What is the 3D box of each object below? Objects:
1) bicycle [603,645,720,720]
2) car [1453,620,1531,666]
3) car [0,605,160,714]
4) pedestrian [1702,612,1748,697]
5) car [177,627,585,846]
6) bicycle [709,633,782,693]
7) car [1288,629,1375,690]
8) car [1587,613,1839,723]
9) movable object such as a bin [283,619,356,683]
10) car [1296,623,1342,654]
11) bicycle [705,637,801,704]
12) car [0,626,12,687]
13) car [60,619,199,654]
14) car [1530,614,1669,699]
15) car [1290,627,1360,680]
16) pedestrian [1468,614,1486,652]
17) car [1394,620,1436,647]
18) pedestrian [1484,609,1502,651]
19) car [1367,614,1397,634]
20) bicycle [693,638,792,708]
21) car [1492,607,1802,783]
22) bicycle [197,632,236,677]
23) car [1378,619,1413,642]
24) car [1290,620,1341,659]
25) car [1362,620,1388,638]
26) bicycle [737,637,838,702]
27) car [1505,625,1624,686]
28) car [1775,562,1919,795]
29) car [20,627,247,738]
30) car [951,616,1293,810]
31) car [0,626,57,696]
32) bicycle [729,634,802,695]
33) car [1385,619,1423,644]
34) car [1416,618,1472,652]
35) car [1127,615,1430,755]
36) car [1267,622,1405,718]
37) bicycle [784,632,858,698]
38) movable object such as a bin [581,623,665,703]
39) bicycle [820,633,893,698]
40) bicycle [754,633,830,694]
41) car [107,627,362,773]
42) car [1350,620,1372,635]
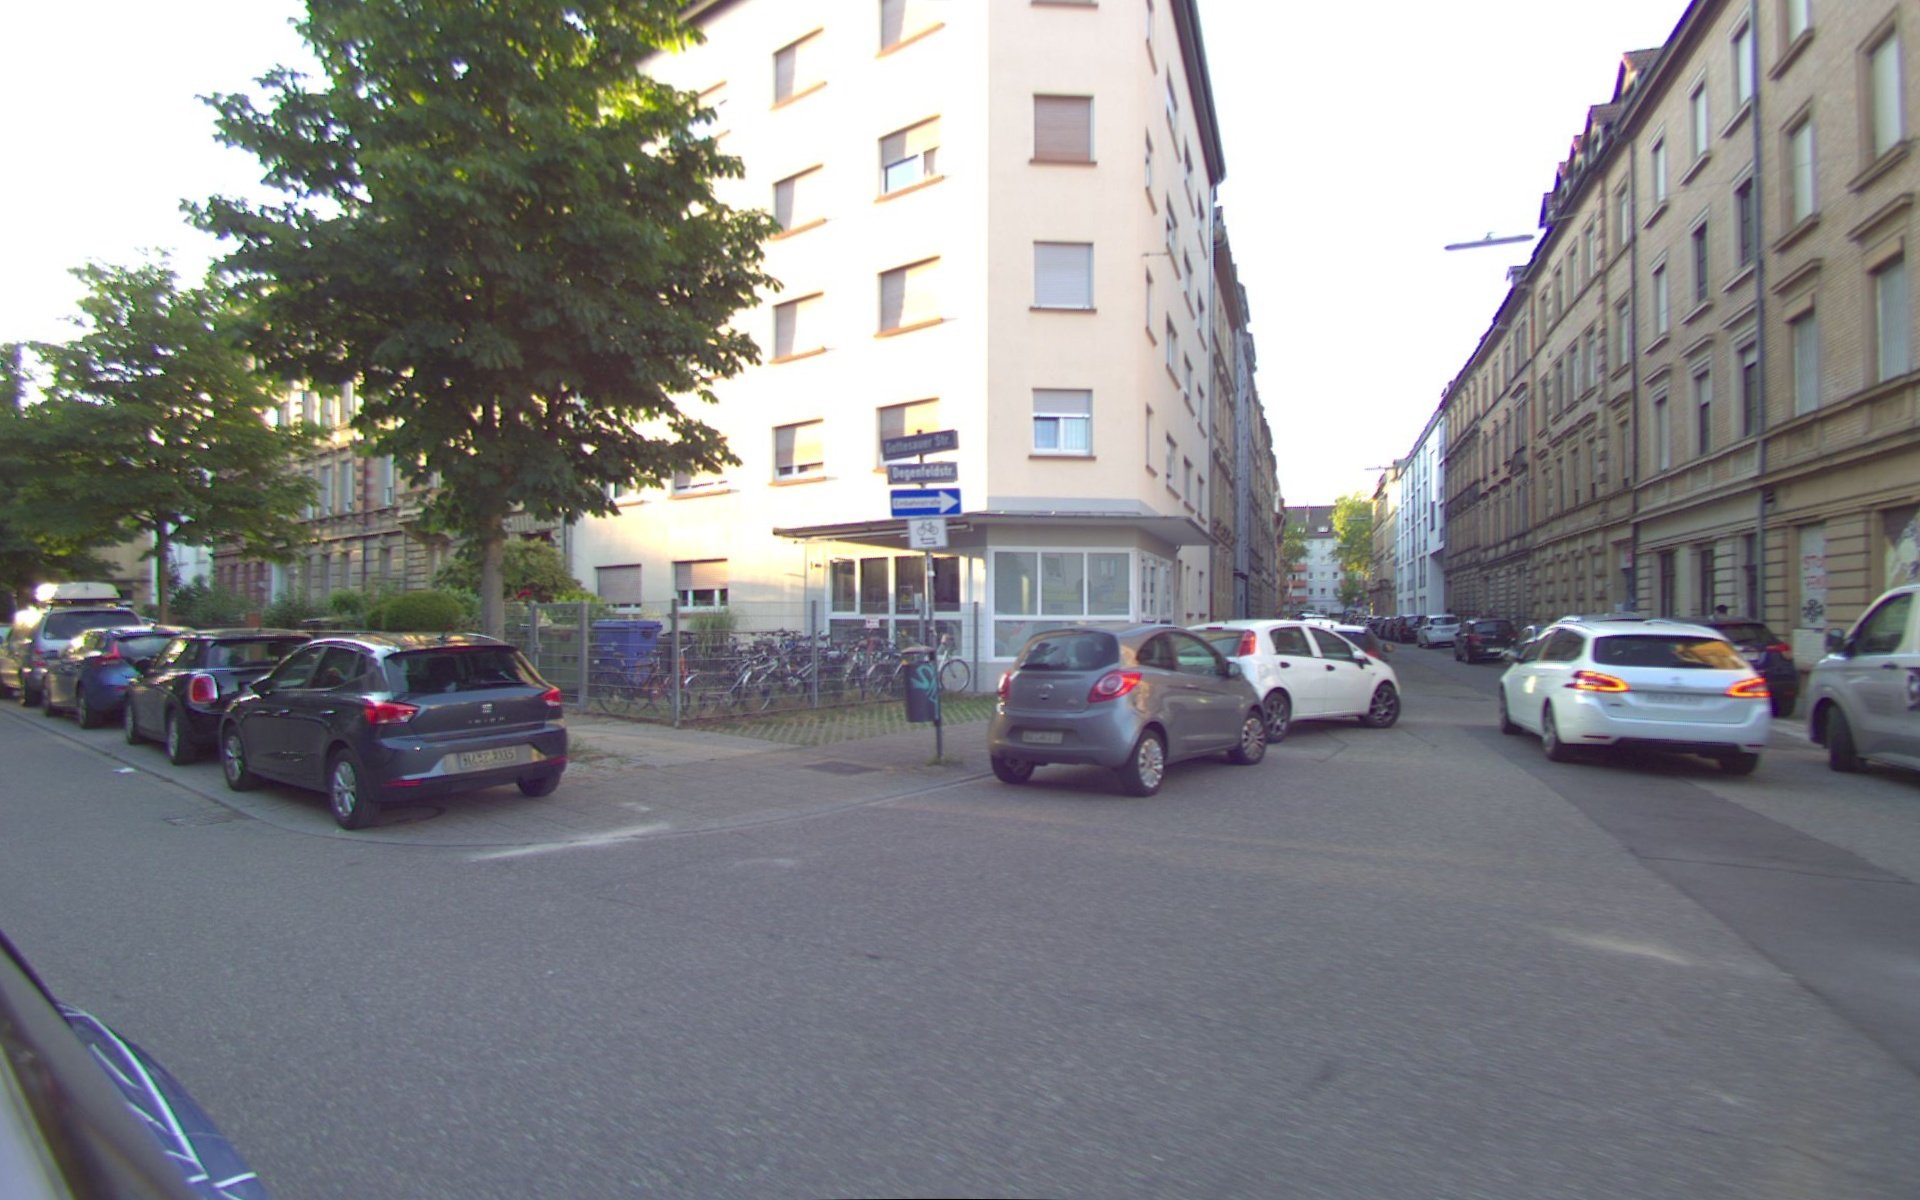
[{"bbox_3d":[-4.634,1.246,15.668,1.927,1.033,0.681,-1,0,35],"label":"bicycle"},{"bbox_3d":[18.287,1.461,34.956,1.774,1.470,3.974,-1,-2,19],"label":"car"},{"bbox_3d":[-16.729,1.012,18.911,4.618,1.792,1.843,-1,-1,39],"label":"car"},{"bbox_3d":[15.638,1.106,20.689,0.589,1.699,0.495,-1,0,18],"label":"pedestrian"},{"bbox_3d":[-5.353,1.007,9.106,4.458,1.472,1.658,-1,-1,38],"label":"car"},{"bbox_3d":[-4.322,1.256,20.466,0.499,1.100,1.531,-1,0,33],"label":"bicycle"},{"bbox_3d":[9.291,1.458,25.558,1.859,1.419,3.976,-1,-2,18],"label":"car"},{"bbox_3d":[12.208,1.046,16.768,2.004,1.583,3.899,-1,-2,15],"label":"car"},{"bbox_3d":[-14.892,1.159,23.525,1.548,1.398,0.937,-1,0,37],"label":"movable object such as a bin"},{"bbox_3d":[17.272,1.852,48.842,1.913,1.418,3.976,-1,-2,18],"label":"car"},{"bbox_3d":[-3.541,1.198,17.357,1.528,1.100,0.500,-1,0,3],"label":"bicycle"},{"bbox_3d":[-25.338,1.414,25.674,3.294,1.505,1.424,-1,-1,38],"label":"car"},{"bbox_3d":[-35.213,1.522,43.010,1.625,1.351,4.357,-1,-1,40],"label":"car"},{"bbox_3d":[13.425,1.138,21.490,1.572,1.635,3.974,-1,-2,19],"label":"car"},{"bbox_3d":[10.860,1.561,30.330,1.773,1.478,3.976,-1,-2,18],"label":"car"},{"bbox_3d":[22.979,1.469,45.002,0.589,1.699,0.495,-1,0,18],"label":"pedestrian"},{"bbox_3d":[25.699,1.906,57.283,1.774,1.470,3.974,-1,-2,19],"label":"car"},{"bbox_3d":[23.577,1.315,44.796,0.589,1.820,0.495,-1,0,18],"label":"pedestrian"},{"bbox_3d":[31.560,1.814,75.811,1.774,1.470,3.974,-1,-2,19],"label":"car"},{"bbox_3d":[-3.613,1.207,16.841,1.528,1.100,0.500,-1,0,3],"label":"bicycle"},{"bbox_3d":[7.332,0.906,11.367,1.808,1.534,4.567,0,-2,20],"label":"car"},{"bbox_3d":[-19.600,1.424,26.672,1.632,1.118,0.451,-1,0,41],"label":"bicycle"},{"bbox_3d":[28.403,1.987,66.084,1.774,1.470,3.974,-1,-2,19],"label":"car"},{"bbox_3d":[14.201,1.567,40.623,1.773,1.478,3.976,-1,-2,18],"label":"car"},{"bbox_3d":[34.822,2.405,84.932,1.774,1.470,3.974,-1,-2,19],"label":"car"},{"bbox_3d":[-3.022,1.217,17.778,1.689,1.100,0.385,-1,0,4],"label":"bicycle"},{"bbox_3d":[15.540,1.374,26.215,1.830,1.438,3.974,-1,-2,19],"label":"car"},{"bbox_3d":[9.167,0.653,8.121,2.189,1.990,5.265,-1,-2,17],"label":"car"},{"bbox_3d":[-12.897,1.163,15.689,4.585,1.423,1.843,-1,-1,39],"label":"car"},{"bbox_3d":[1.728,0.946,9.999,1.843,1.519,3.472,-2,-2,39],"label":"car"},{"bbox_3d":[-21.762,1.321,22.605,4.019,1.452,1.711,-1,-1,38],"label":"car"},{"bbox_3d":[-3.849,1.253,20.129,0.499,1.100,1.531,-1,0,33],"label":"bicycle"},{"bbox_3d":[27.017,1.891,61.672,1.774,1.470,3.974,-1,-2,19],"label":"car"},{"bbox_3d":[22.926,1.651,48.051,1.875,1.569,3.975,-1,-2,18],"label":"car"},{"bbox_3d":[4.377,1.007,13.682,4.007,1.520,1.978,-1,0,-38],"label":"car"},{"bbox_3d":[6.562,1.116,17.493,1.986,1.450,4.047,-1,-2,23],"label":"car"},{"bbox_3d":[-2.632,1.210,19.331,0.499,1.150,1.531,-1,0,33],"label":"bicycle"},{"bbox_3d":[-6.100,1.103,18.287,1.398,1.362,0.857,-1,0,42],"label":"movable object such as a bin"},{"bbox_3d":[-1.920,1.199,18.945,0.499,1.100,1.531,-1,0,33],"label":"bicycle"},{"bbox_3d":[-3.274,1.220,19.856,0.499,1.100,1.617,-1,0,33],"label":"bicycle"},{"bbox_3d":[-8.963,1.068,12.364,4.142,1.431,1.723,-1,-1,42],"label":"car"},{"bbox_3d":[38.985,2.653,98.353,1.774,1.470,3.974,-1,-2,19],"label":"car"}]
